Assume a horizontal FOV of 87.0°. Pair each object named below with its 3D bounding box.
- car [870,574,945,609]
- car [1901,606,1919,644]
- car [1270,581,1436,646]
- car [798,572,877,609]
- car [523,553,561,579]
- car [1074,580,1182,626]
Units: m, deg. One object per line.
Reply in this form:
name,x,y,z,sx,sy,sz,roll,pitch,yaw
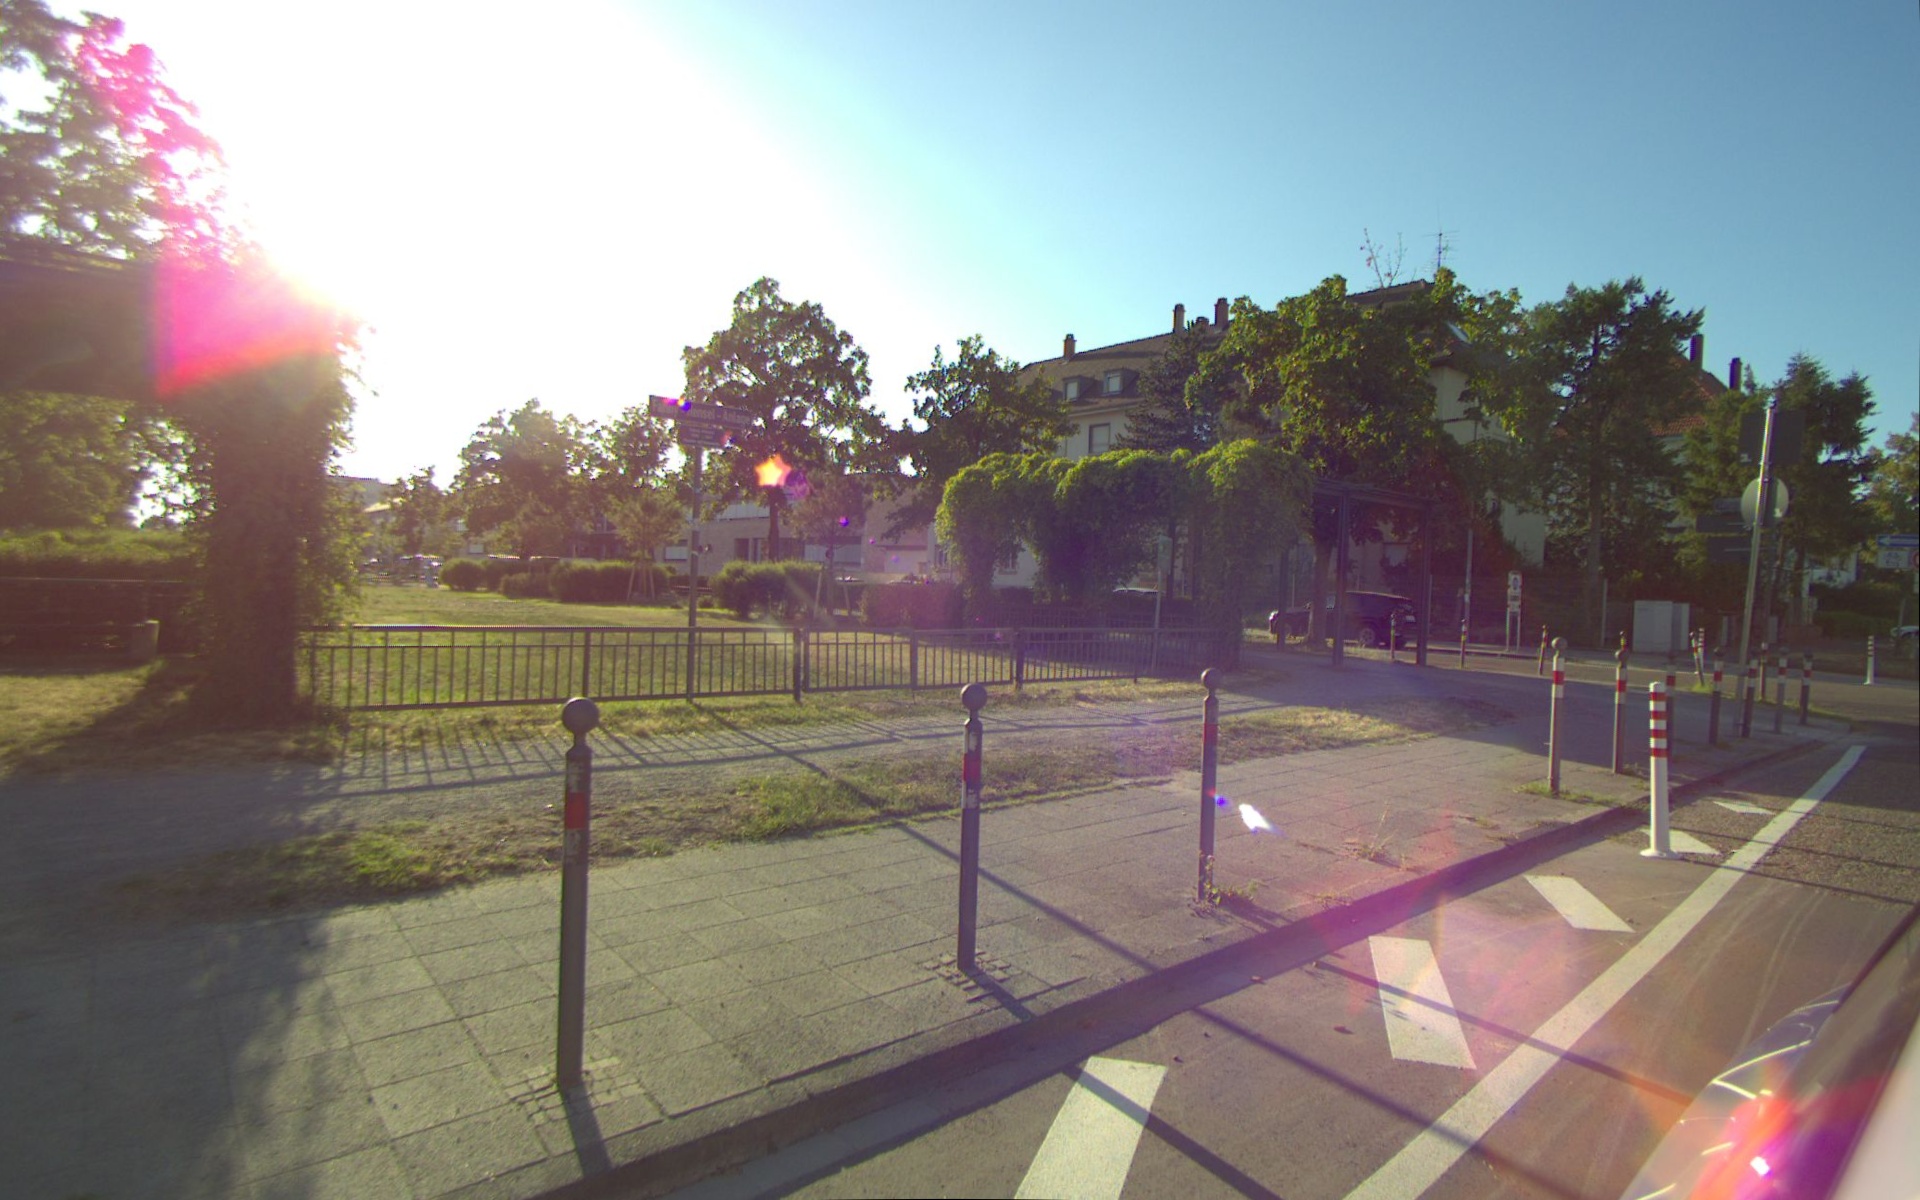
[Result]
car,-2.574,-0.427,48.886,1.739,1.545,3.769,0,2,-40
car,44.405,1.179,44.067,1.937,1.634,4.831,1,1,-41
car,11.589,0.356,30.078,1.790,1.662,4.211,4,-1,-41
car,-5.577,-0.460,45.864,1.740,1.545,3.767,0,2,-41
car,-36.420,-2.990,88.102,1.964,2.150,3.997,1,1,-39
car,6.200,0.074,37.580,1.738,1.545,3.771,0,2,-38
